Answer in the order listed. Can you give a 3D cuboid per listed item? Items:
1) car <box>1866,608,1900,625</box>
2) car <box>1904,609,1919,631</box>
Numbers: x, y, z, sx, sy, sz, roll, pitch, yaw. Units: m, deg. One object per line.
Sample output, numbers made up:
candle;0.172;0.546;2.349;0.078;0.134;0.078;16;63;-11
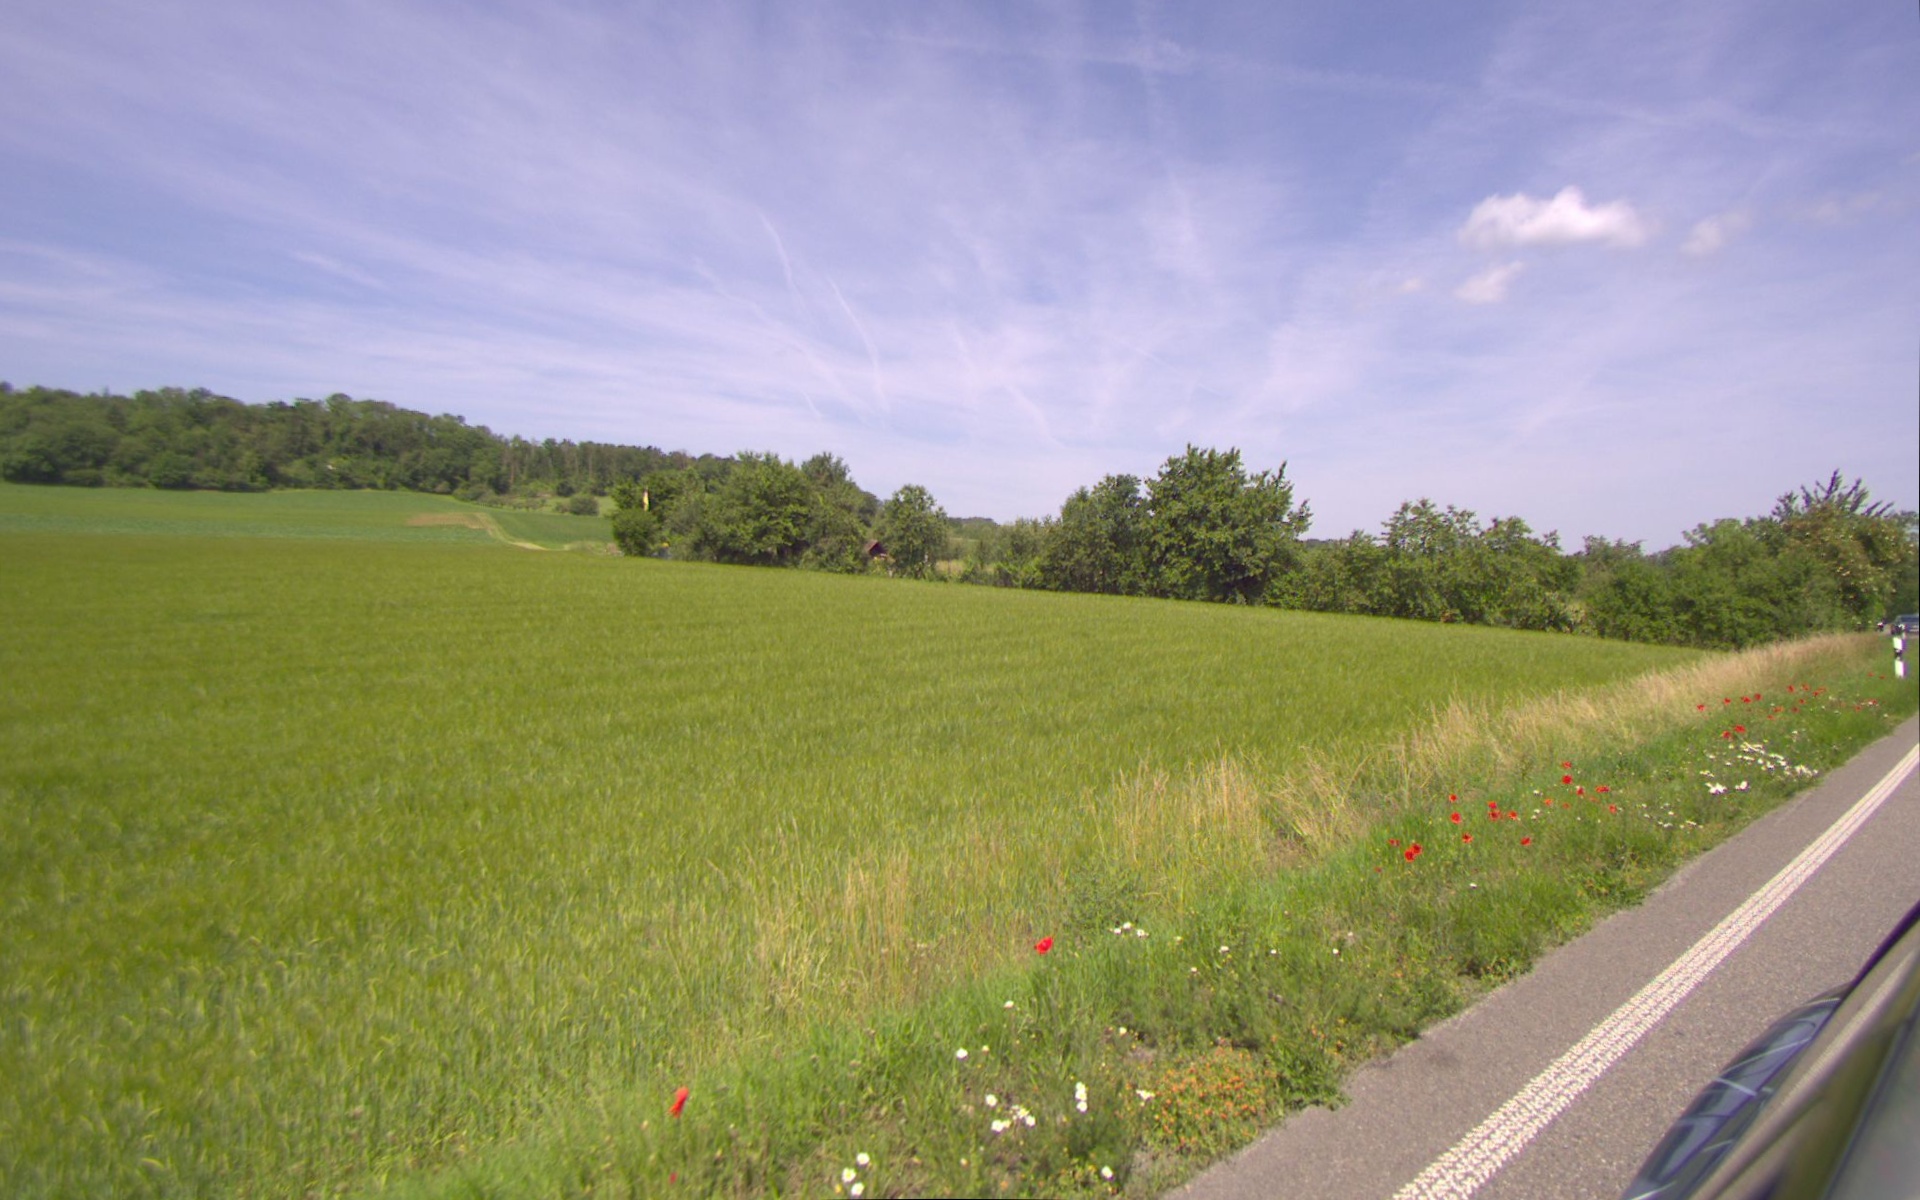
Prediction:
car;84.245;1.510;92.411;1.921;1.468;3.944;3;1;39
car;71.680;1.521;75.251;1.922;1.467;4.019;3;3;39
